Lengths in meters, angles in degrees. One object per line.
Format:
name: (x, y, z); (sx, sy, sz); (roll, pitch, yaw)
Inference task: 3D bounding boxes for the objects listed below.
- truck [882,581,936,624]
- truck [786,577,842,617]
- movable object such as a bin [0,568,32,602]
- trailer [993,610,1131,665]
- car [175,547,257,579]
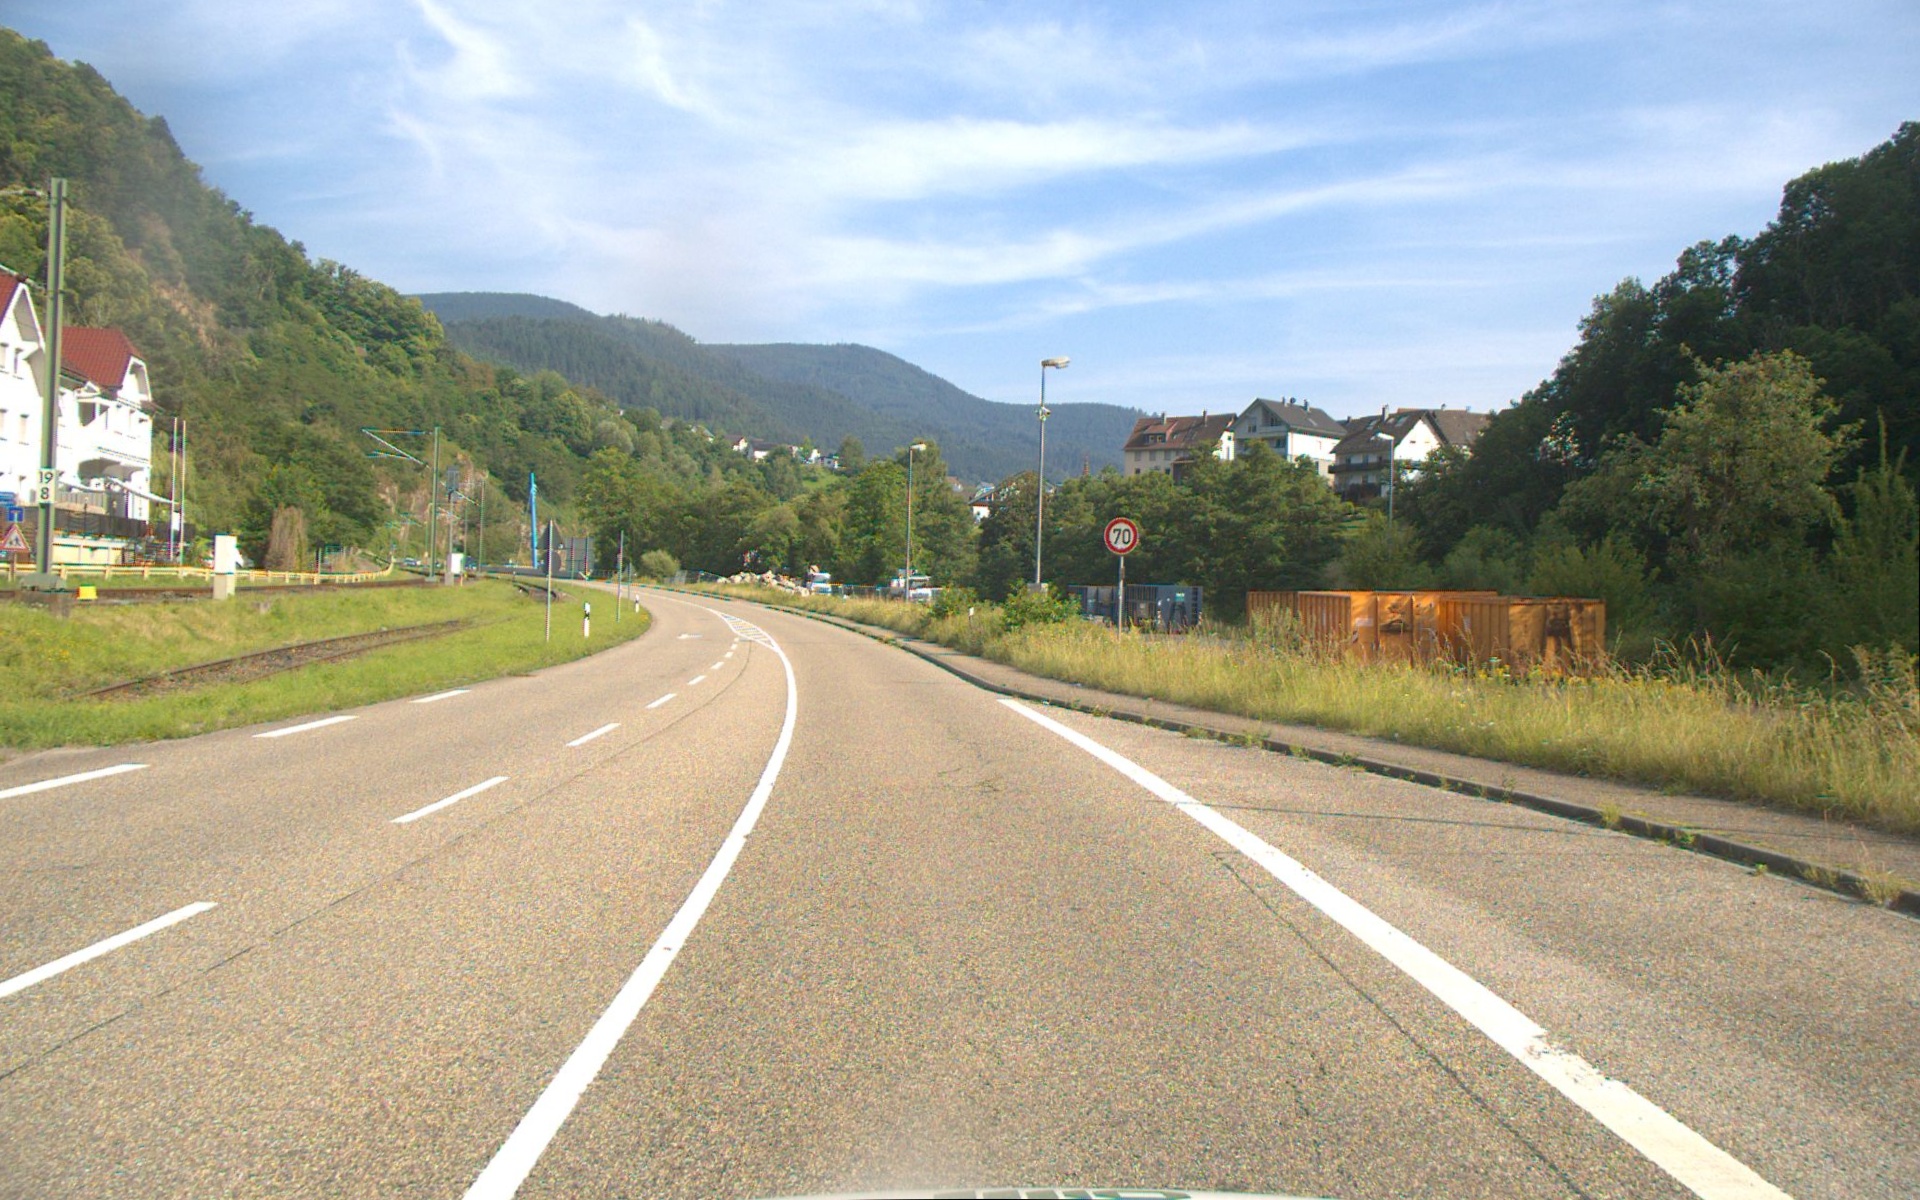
truck: (-4.832, 0.189, 155.578); (3.052, 3.848, 8.610); (3, 0, -15)
truck: (-15.231, -0.316, 171.558); (3.062, 3.848, 8.581); (3, 0, -24)
movable object such as a bin: (-35.611, -0.560, 61.967); (1.070, 1.212, 1.140); (2, -1, -10)
trailer: (3.399, 1.248, 58.286); (2.741, 1.500, 9.866); (4, 0, -9)
car: (-44.824, -2.200, 99.681); (4.070, 1.721, 1.995); (2, 0, -11)
